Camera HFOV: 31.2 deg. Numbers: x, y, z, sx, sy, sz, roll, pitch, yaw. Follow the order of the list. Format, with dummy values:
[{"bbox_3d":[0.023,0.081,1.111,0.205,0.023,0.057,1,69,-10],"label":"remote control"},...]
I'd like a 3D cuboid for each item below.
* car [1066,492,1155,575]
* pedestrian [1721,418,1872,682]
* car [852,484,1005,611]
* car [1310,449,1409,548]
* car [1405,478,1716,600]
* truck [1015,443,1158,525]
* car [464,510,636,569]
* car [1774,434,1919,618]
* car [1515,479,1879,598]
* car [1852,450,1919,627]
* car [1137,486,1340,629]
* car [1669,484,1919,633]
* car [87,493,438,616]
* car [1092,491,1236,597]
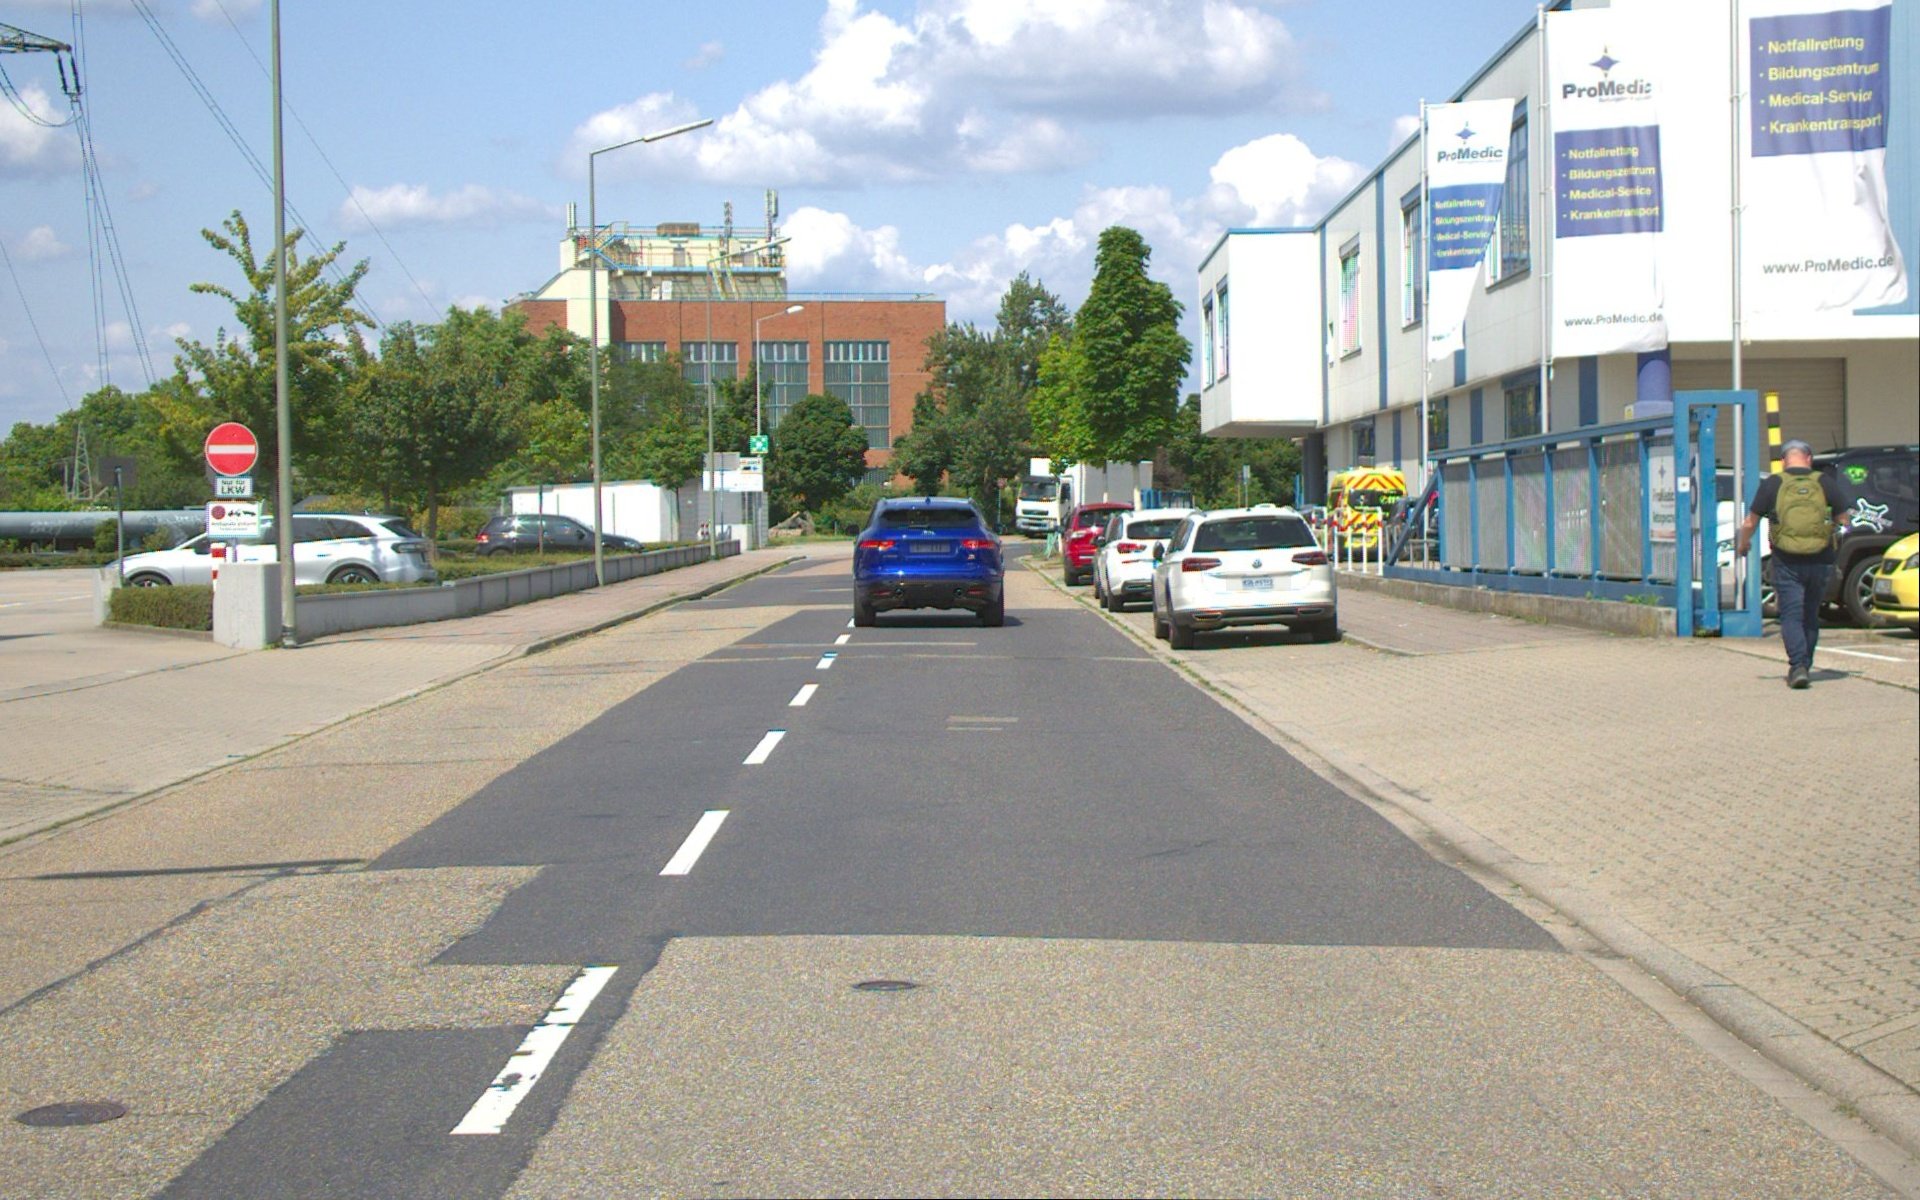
[{"bbox_3d":[3.035,-1.362,70.220,1.755,1.645,4.677,0,1,2],"label":"car"},{"bbox_3d":[5.734,-0.347,23.588,0.769,1.750,0.787,-3,1,-1],"label":"pedestrian"},{"bbox_3d":[-0.419,-0.711,45.324,1.909,1.587,4.702,0,1,-1],"label":"car"},{"bbox_3d":[10.152,-2.574,87.667,1.924,2.455,5.260,0,1,0],"label":"car"},{"bbox_3d":[8.595,-0.885,49.469,4.083,1.680,2.000,-1,2,-1],"label":"car"},{"bbox_3d":[5.827,-5.334,156.541,2.325,3.555,9.352,2,3,30],"label":"truck"},{"bbox_3d":[-10.063,-1.505,84.529,3.987,1.371,1.804,-1,2,0],"label":"car"},{"bbox_3d":[9.735,-0.698,32.151,3.806,1.674,1.791,0,1,0],"label":"car"},{"bbox_3d":[9.503,-0.813,44.565,4.279,1.415,2.000,-1,2,1],"label":"car"},{"bbox_3d":[9.677,-0.539,29.803,3.403,1.485,1.791,0,1,0],"label":"car"},{"bbox_3d":[3.066,-0.508,38.679,1.867,1.515,4.598,0,1,-1],"label":"car"},{"bbox_3d":[9.384,-0.458,34.808,3.987,1.415,2.000,-1,2,1],"label":"car"},{"bbox_3d":[-10.169,-0.677,50.411,4.754,1.597,2.000,-2,2,-3],"label":"car"},{"bbox_3d":[2.997,-0.848,51.388,1.835,1.515,4.462,0,1,-1],"label":"car"}]
